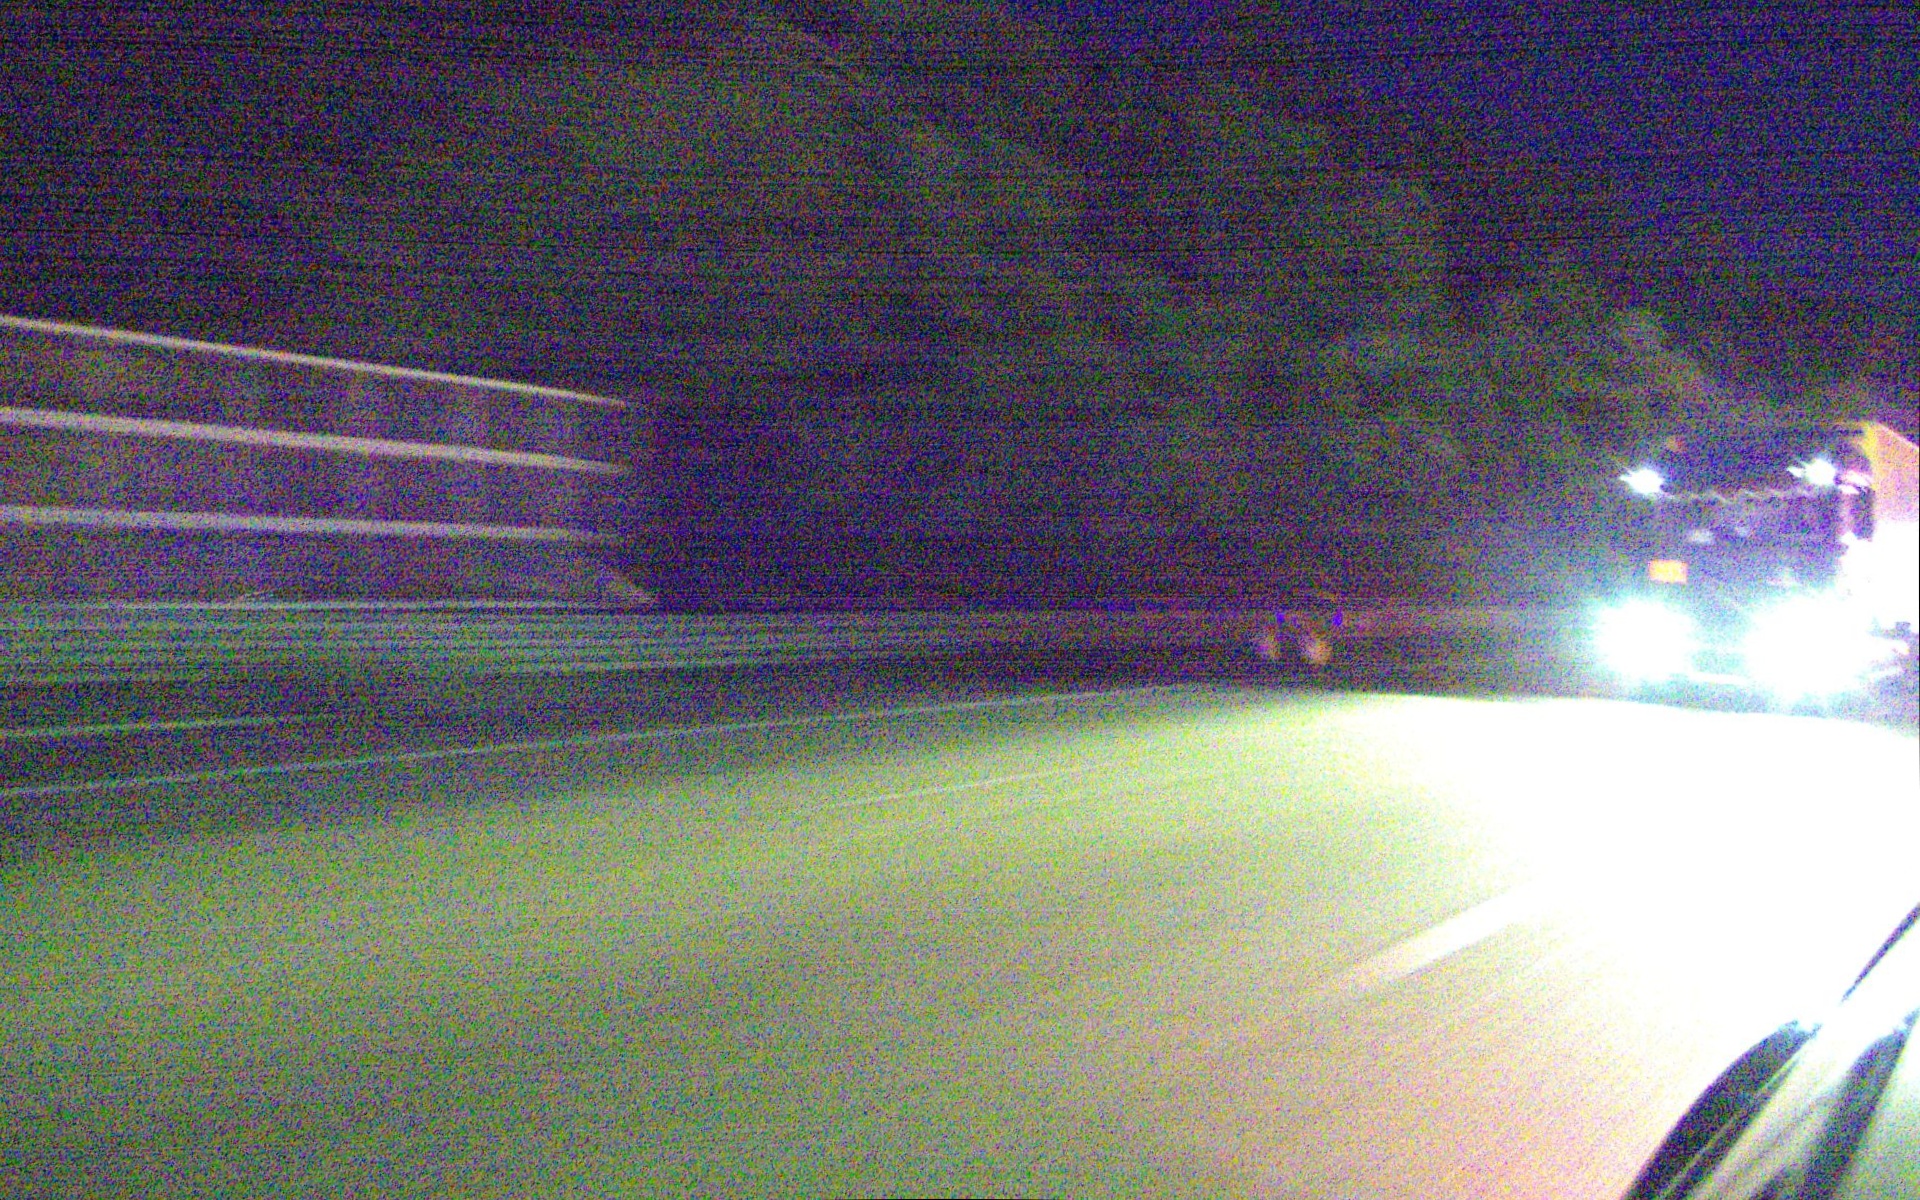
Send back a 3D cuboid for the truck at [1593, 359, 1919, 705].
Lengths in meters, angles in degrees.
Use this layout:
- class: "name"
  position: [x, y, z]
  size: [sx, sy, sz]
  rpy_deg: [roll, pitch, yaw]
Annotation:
- class: "truck"
  position: [17.537, -0.891, 19.511]
  size: [18.376, 4.186, 3.490]
  rpy_deg: [0, 1, -40]
